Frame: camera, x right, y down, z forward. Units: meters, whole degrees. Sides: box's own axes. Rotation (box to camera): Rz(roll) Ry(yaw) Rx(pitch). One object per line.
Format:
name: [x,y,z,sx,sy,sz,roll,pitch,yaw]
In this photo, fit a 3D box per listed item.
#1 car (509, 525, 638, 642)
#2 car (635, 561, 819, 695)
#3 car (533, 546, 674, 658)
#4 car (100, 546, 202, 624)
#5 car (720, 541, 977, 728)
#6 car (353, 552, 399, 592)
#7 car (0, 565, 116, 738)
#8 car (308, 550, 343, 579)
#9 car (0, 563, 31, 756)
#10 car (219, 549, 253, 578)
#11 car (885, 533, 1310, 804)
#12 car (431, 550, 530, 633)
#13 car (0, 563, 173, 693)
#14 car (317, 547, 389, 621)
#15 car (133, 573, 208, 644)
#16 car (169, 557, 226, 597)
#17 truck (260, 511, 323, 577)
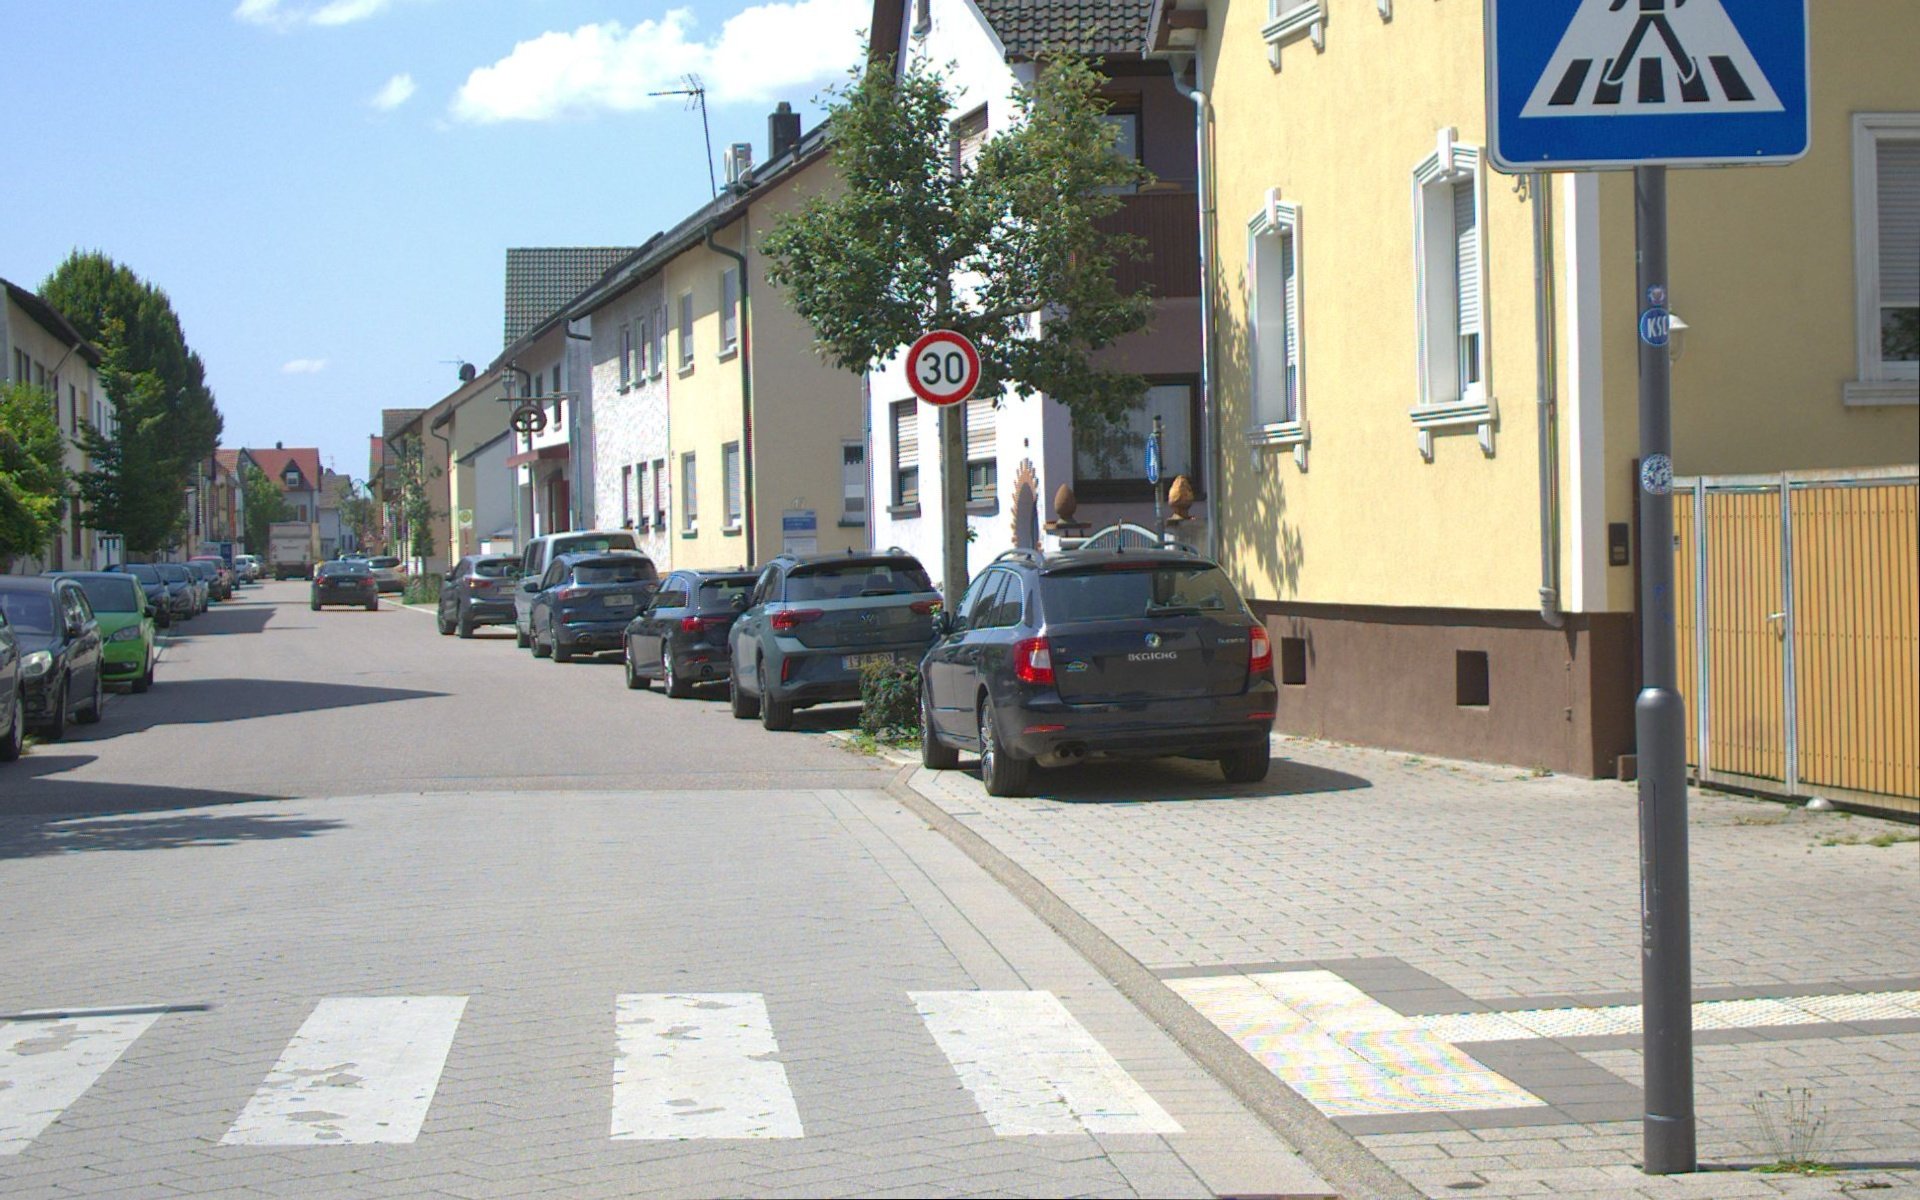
car: [-6.577,-0.314,58.237,1.906,1.865,4.001,-2,1,-9]
car: [-2.701,0.280,39.245,1.710,1.382,3.707,-2,1,-9]
car: [-5.513,-0.002,52.781,1.877,1.586,4.001,-2,1,-9]
car: [-18.325,-0.354,77.999,1.993,1.656,4.001,-2,1,-10]
car: [-1.088,0.263,31.643,1.846,1.557,3.694,-2,1,-9]
car: [-22.501,-1.080,132.432,1.687,1.447,3.794,-2,1,-9]
car: [-9.235,0.448,33.128,1.750,1.527,4.261,0,1,-9]
car: [-32.951,-1.846,178.523,1.687,1.447,3.794,-2,1,-12]
car: [-8.478,0.495,26.898,1.747,1.525,4.001,0,1,-7]
car: [-44.045,-2.240,209.235,1.846,1.701,3.720,-2,1,-10]
car: [0.770,0.375,22.192,1.828,1.466,4.277,-4,1,-9]
car: [-9.379,-0.189,67.036,1.754,1.487,4.001,-2,1,-9]
car: [-10.965,0.314,43.314,1.792,1.470,3.872,-2,1,-10]
car: [-17.771,-0.505,100.696,1.993,2.050,4.375,-2,1,-10]
car: [-20.888,0.204,91.027,1.683,1.752,3.616,-2,1,-10]
car: [-29.487,-0.895,133.004,1.916,1.437,4.001,-2,1,-10]
truck: [-42.021,-3.528,215.913,3.563,3.940,8.584,-2,1,-12]
